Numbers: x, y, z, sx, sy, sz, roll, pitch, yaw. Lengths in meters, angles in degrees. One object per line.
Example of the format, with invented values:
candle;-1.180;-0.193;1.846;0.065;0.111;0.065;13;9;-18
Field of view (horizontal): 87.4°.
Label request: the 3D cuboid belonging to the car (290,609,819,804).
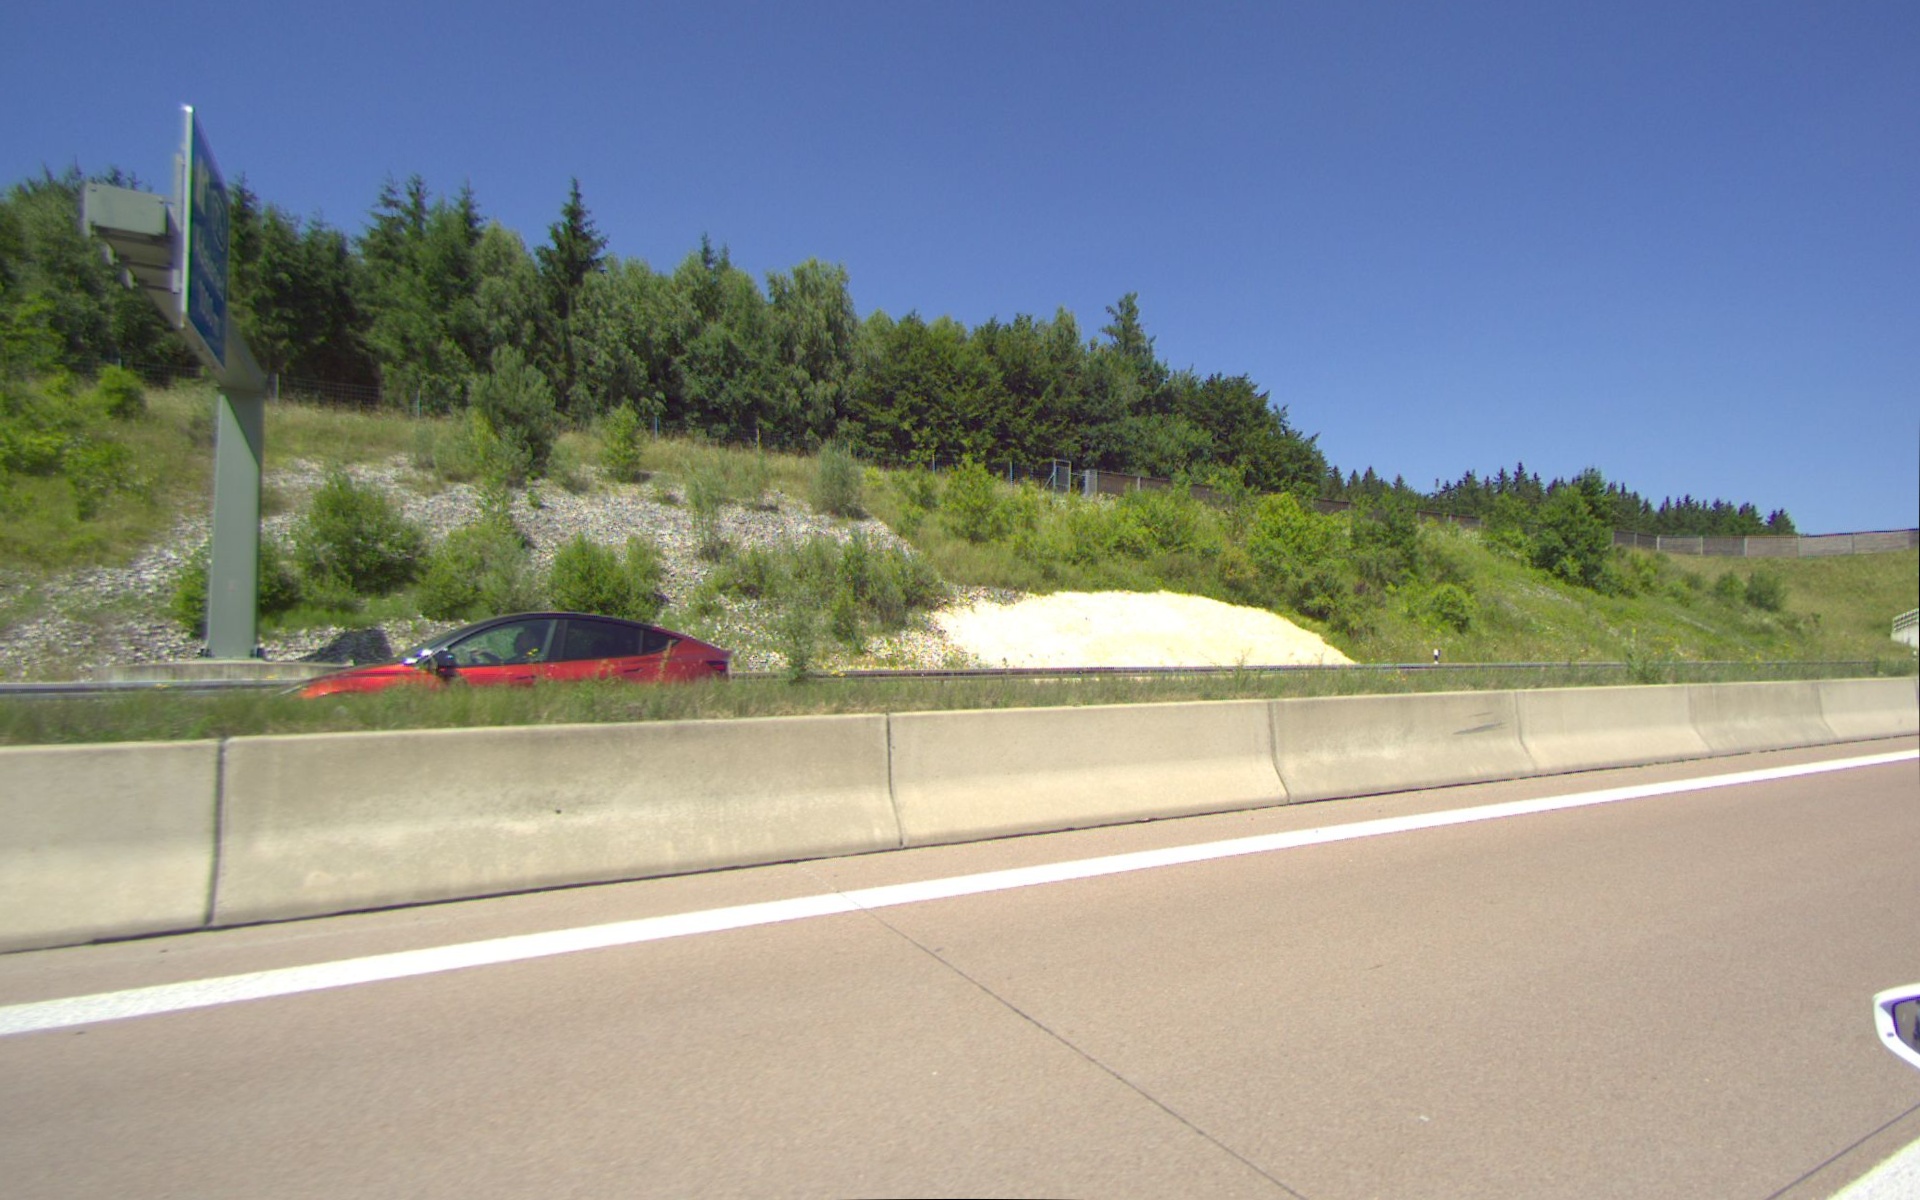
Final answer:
car;-4.147;0.935;10.734;4.922;1.615;1.880;0;1;-32
